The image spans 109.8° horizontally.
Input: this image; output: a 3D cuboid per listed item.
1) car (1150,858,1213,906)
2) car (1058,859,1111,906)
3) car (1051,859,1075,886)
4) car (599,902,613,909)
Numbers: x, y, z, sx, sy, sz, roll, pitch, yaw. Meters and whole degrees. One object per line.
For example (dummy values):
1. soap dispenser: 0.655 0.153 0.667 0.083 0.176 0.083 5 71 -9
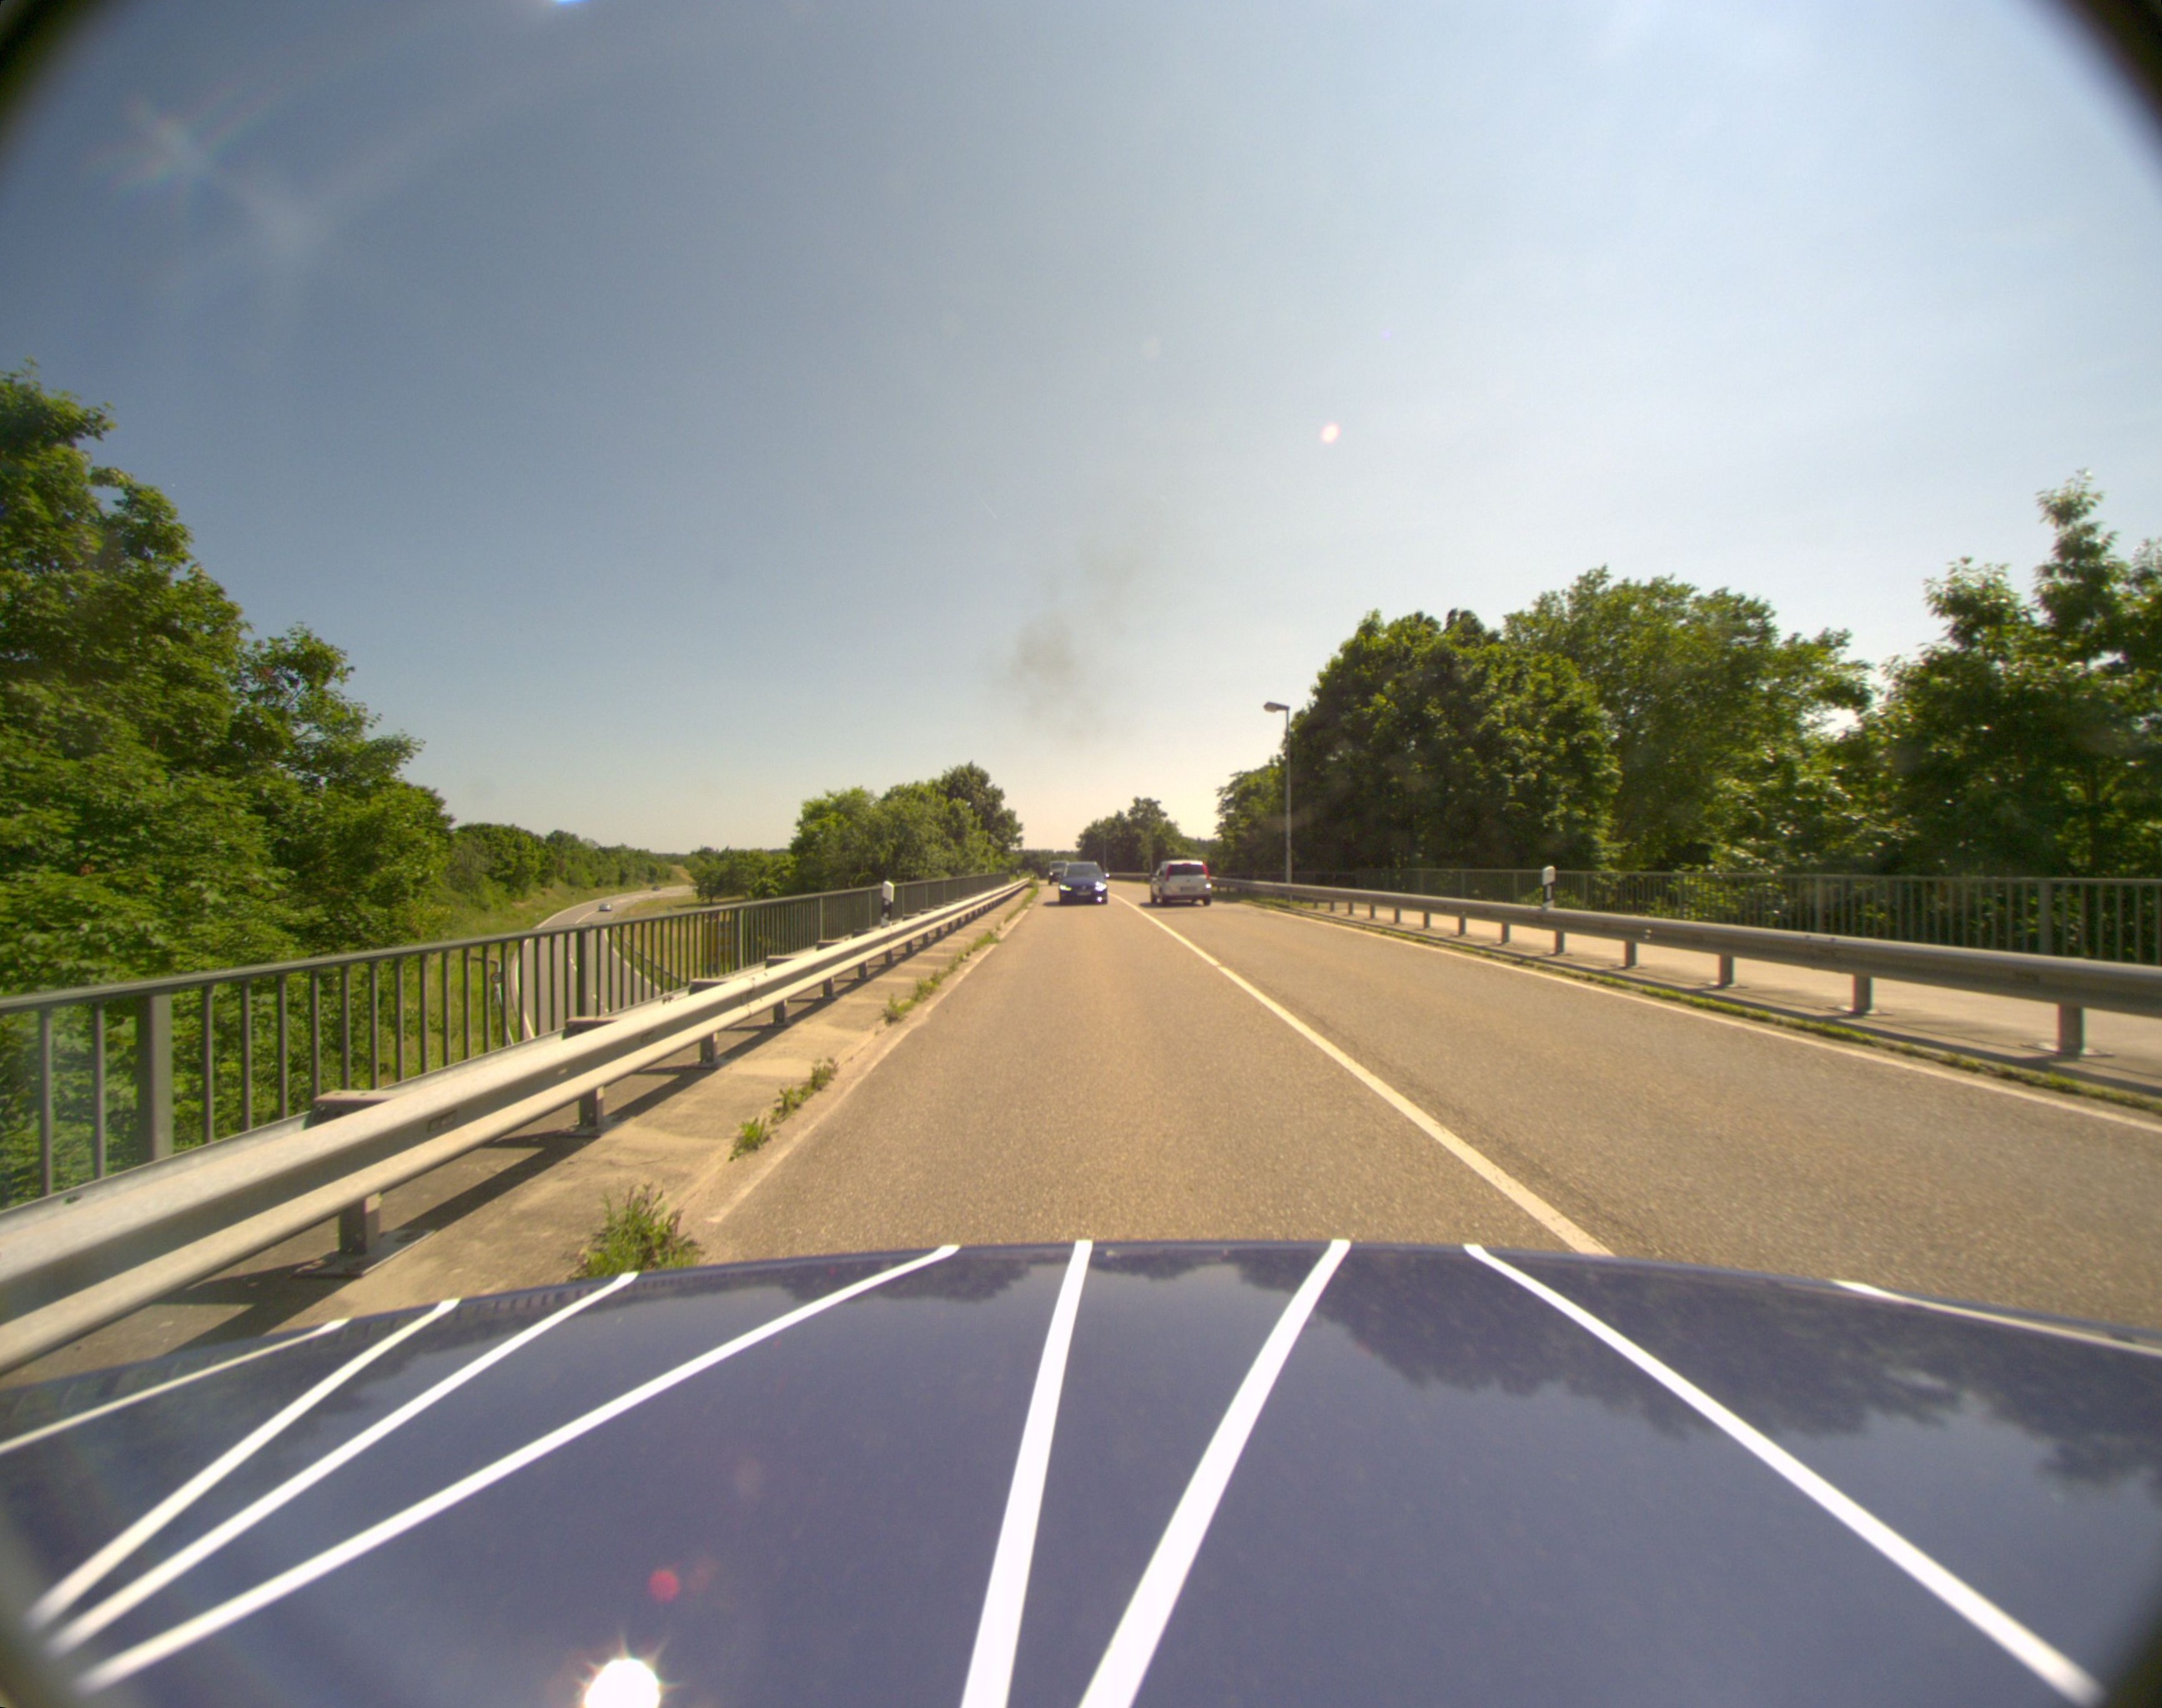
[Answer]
1. car: 3.423 0.922 26.435 1.672 1.508 3.665 -1 0 -1
2. car: 0.069 1.013 28.806 1.828 1.591 4.195 -2 0 -2
3. car: -1.426 1.483 62.113 1.779 2.007 4.000 -4 0 -1
4. car: -86.582 9.446 138.511 1.527 1.188 3.411 6 -6 -40
